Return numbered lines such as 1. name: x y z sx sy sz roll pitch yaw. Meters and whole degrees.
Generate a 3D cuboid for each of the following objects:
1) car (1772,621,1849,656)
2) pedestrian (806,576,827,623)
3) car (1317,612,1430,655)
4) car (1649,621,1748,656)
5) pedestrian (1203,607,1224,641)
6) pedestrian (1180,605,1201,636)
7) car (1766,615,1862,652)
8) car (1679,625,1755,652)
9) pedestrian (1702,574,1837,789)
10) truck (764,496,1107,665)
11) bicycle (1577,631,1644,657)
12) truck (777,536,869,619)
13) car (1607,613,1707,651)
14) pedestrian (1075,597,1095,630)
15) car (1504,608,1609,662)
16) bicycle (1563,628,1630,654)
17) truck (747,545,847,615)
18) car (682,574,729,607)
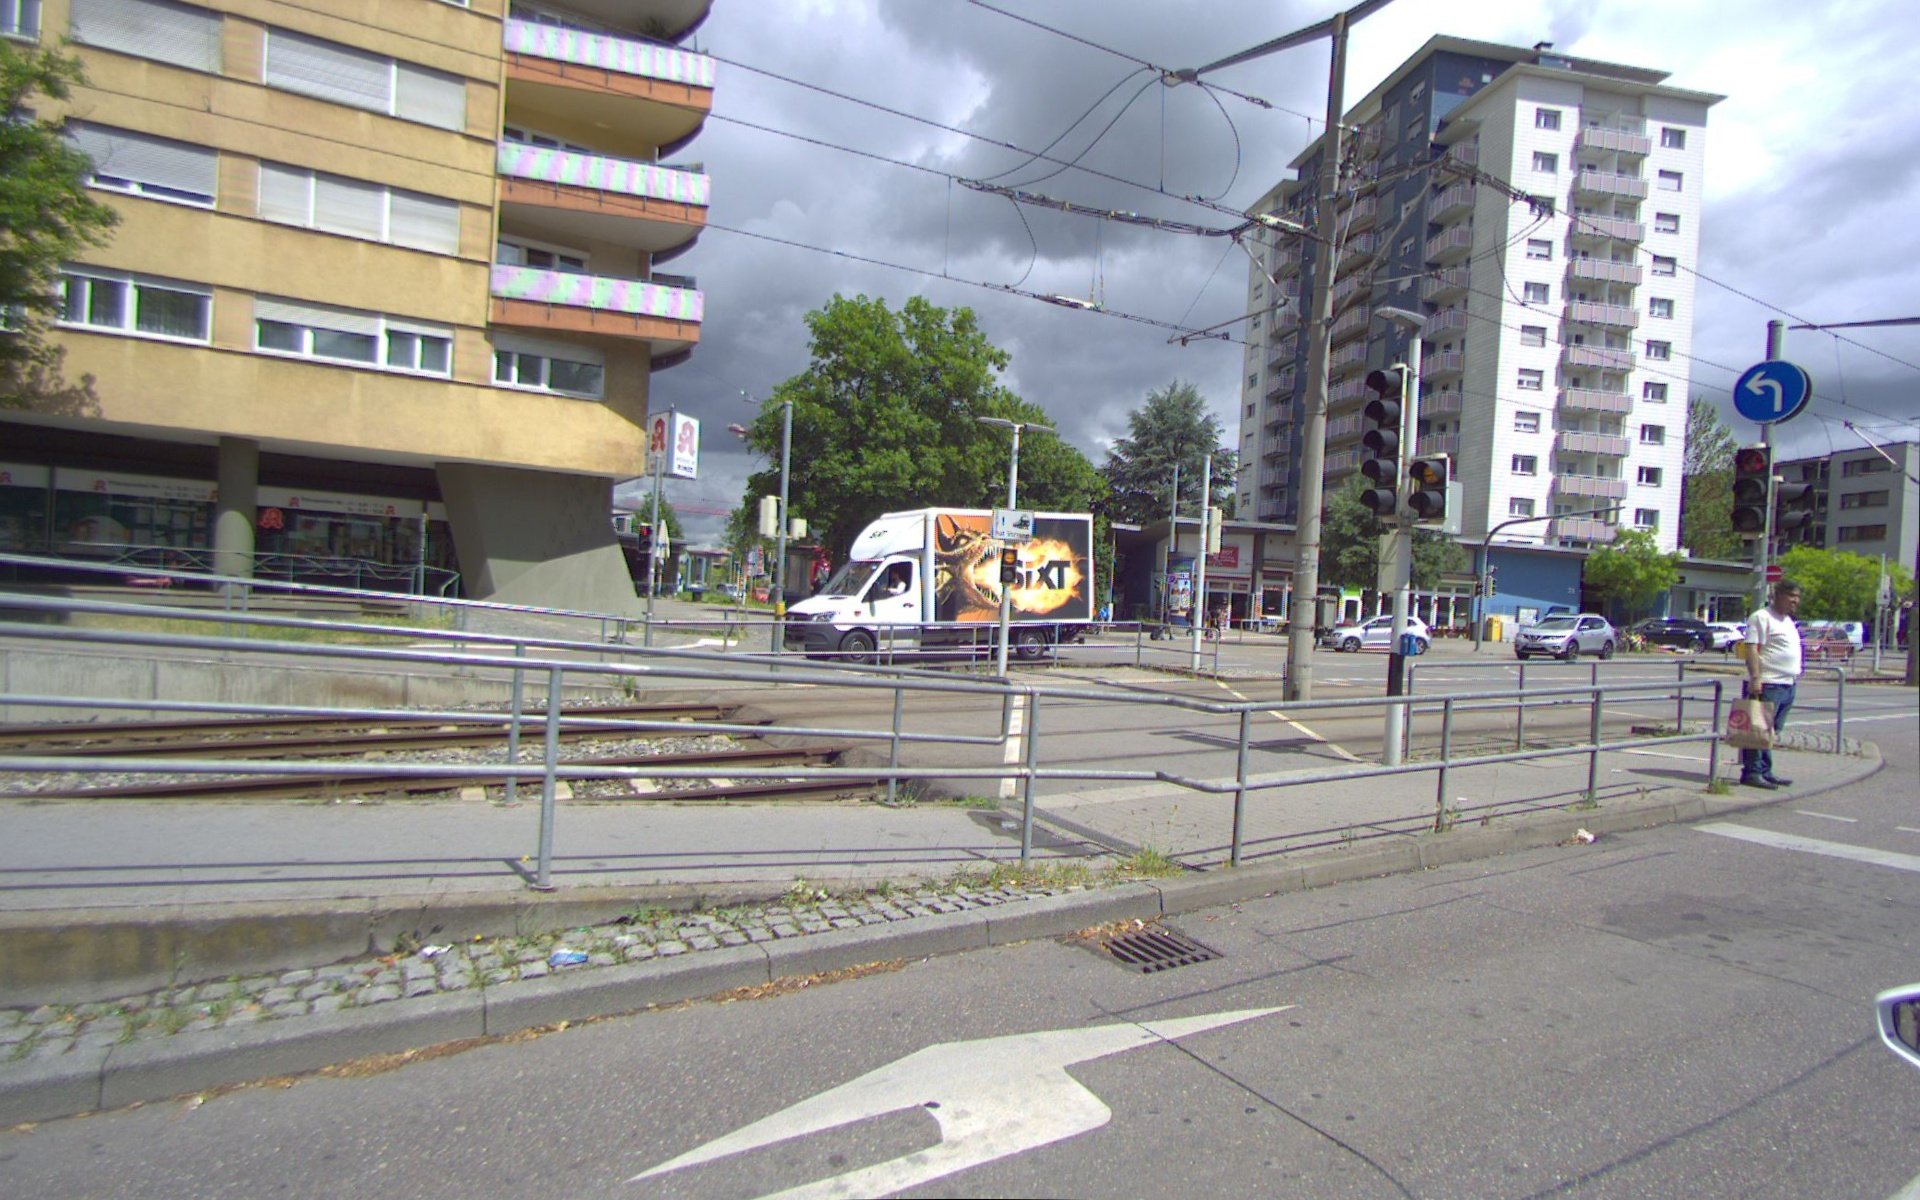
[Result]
1. car: 40.893 1.852 48.304 3.826 1.554 1.643 1 0 -31
2. pedestrian: -5.623 -0.036 39.344 0.652 1.799 0.655 2 1 -19
3. car: 15.684 1.267 38.205 3.699 1.480 1.412 2 1 4
4. car: 39.241 2.042 53.462 3.845 1.669 1.657 1 0 16
5. pedestrian: 11.736 1.082 46.491 0.905 1.530 0.747 2 1 16
6. pedestrian: 11.587 1.034 50.572 0.905 1.530 0.748 2 1 7
7. car: 49.415 1.931 58.200 3.847 2.001 1.656 1 0 20
8. car: 41.198 2.059 54.737 3.049 1.298 1.467 2 0 27
9. pedestrian: 6.953 0.669 8.639 0.679 1.757 0.684 1 0 -29
10. truck: -0.349 -0.318 21.641 7.240 3.160 2.268 1 1 -33
11. bicycle: 30.130 2.010 46.556 2.522 1.022 0.754 3 0 34
12. truck: -6.790 -1.052 48.786 2.190 3.688 7.126 1 1 -26
13. car: 34.906 1.583 50.413 3.928 1.709 1.573 1 0 29
14. pedestrian: 5.387 0.579 43.328 0.669 1.394 0.537 1 1 -30
15. car: 21.204 1.229 35.676 3.730 1.780 1.584 1 1 -30
16. bicycle: 28.685 1.839 45.298 2.522 1.022 0.754 3 0 34
17. truck: -5.965 -0.719 36.306 2.321 2.321 4.262 1 1 -28
18. car: -16.146 -0.591 63.605 1.975 2.040 3.970 1 0 -28
